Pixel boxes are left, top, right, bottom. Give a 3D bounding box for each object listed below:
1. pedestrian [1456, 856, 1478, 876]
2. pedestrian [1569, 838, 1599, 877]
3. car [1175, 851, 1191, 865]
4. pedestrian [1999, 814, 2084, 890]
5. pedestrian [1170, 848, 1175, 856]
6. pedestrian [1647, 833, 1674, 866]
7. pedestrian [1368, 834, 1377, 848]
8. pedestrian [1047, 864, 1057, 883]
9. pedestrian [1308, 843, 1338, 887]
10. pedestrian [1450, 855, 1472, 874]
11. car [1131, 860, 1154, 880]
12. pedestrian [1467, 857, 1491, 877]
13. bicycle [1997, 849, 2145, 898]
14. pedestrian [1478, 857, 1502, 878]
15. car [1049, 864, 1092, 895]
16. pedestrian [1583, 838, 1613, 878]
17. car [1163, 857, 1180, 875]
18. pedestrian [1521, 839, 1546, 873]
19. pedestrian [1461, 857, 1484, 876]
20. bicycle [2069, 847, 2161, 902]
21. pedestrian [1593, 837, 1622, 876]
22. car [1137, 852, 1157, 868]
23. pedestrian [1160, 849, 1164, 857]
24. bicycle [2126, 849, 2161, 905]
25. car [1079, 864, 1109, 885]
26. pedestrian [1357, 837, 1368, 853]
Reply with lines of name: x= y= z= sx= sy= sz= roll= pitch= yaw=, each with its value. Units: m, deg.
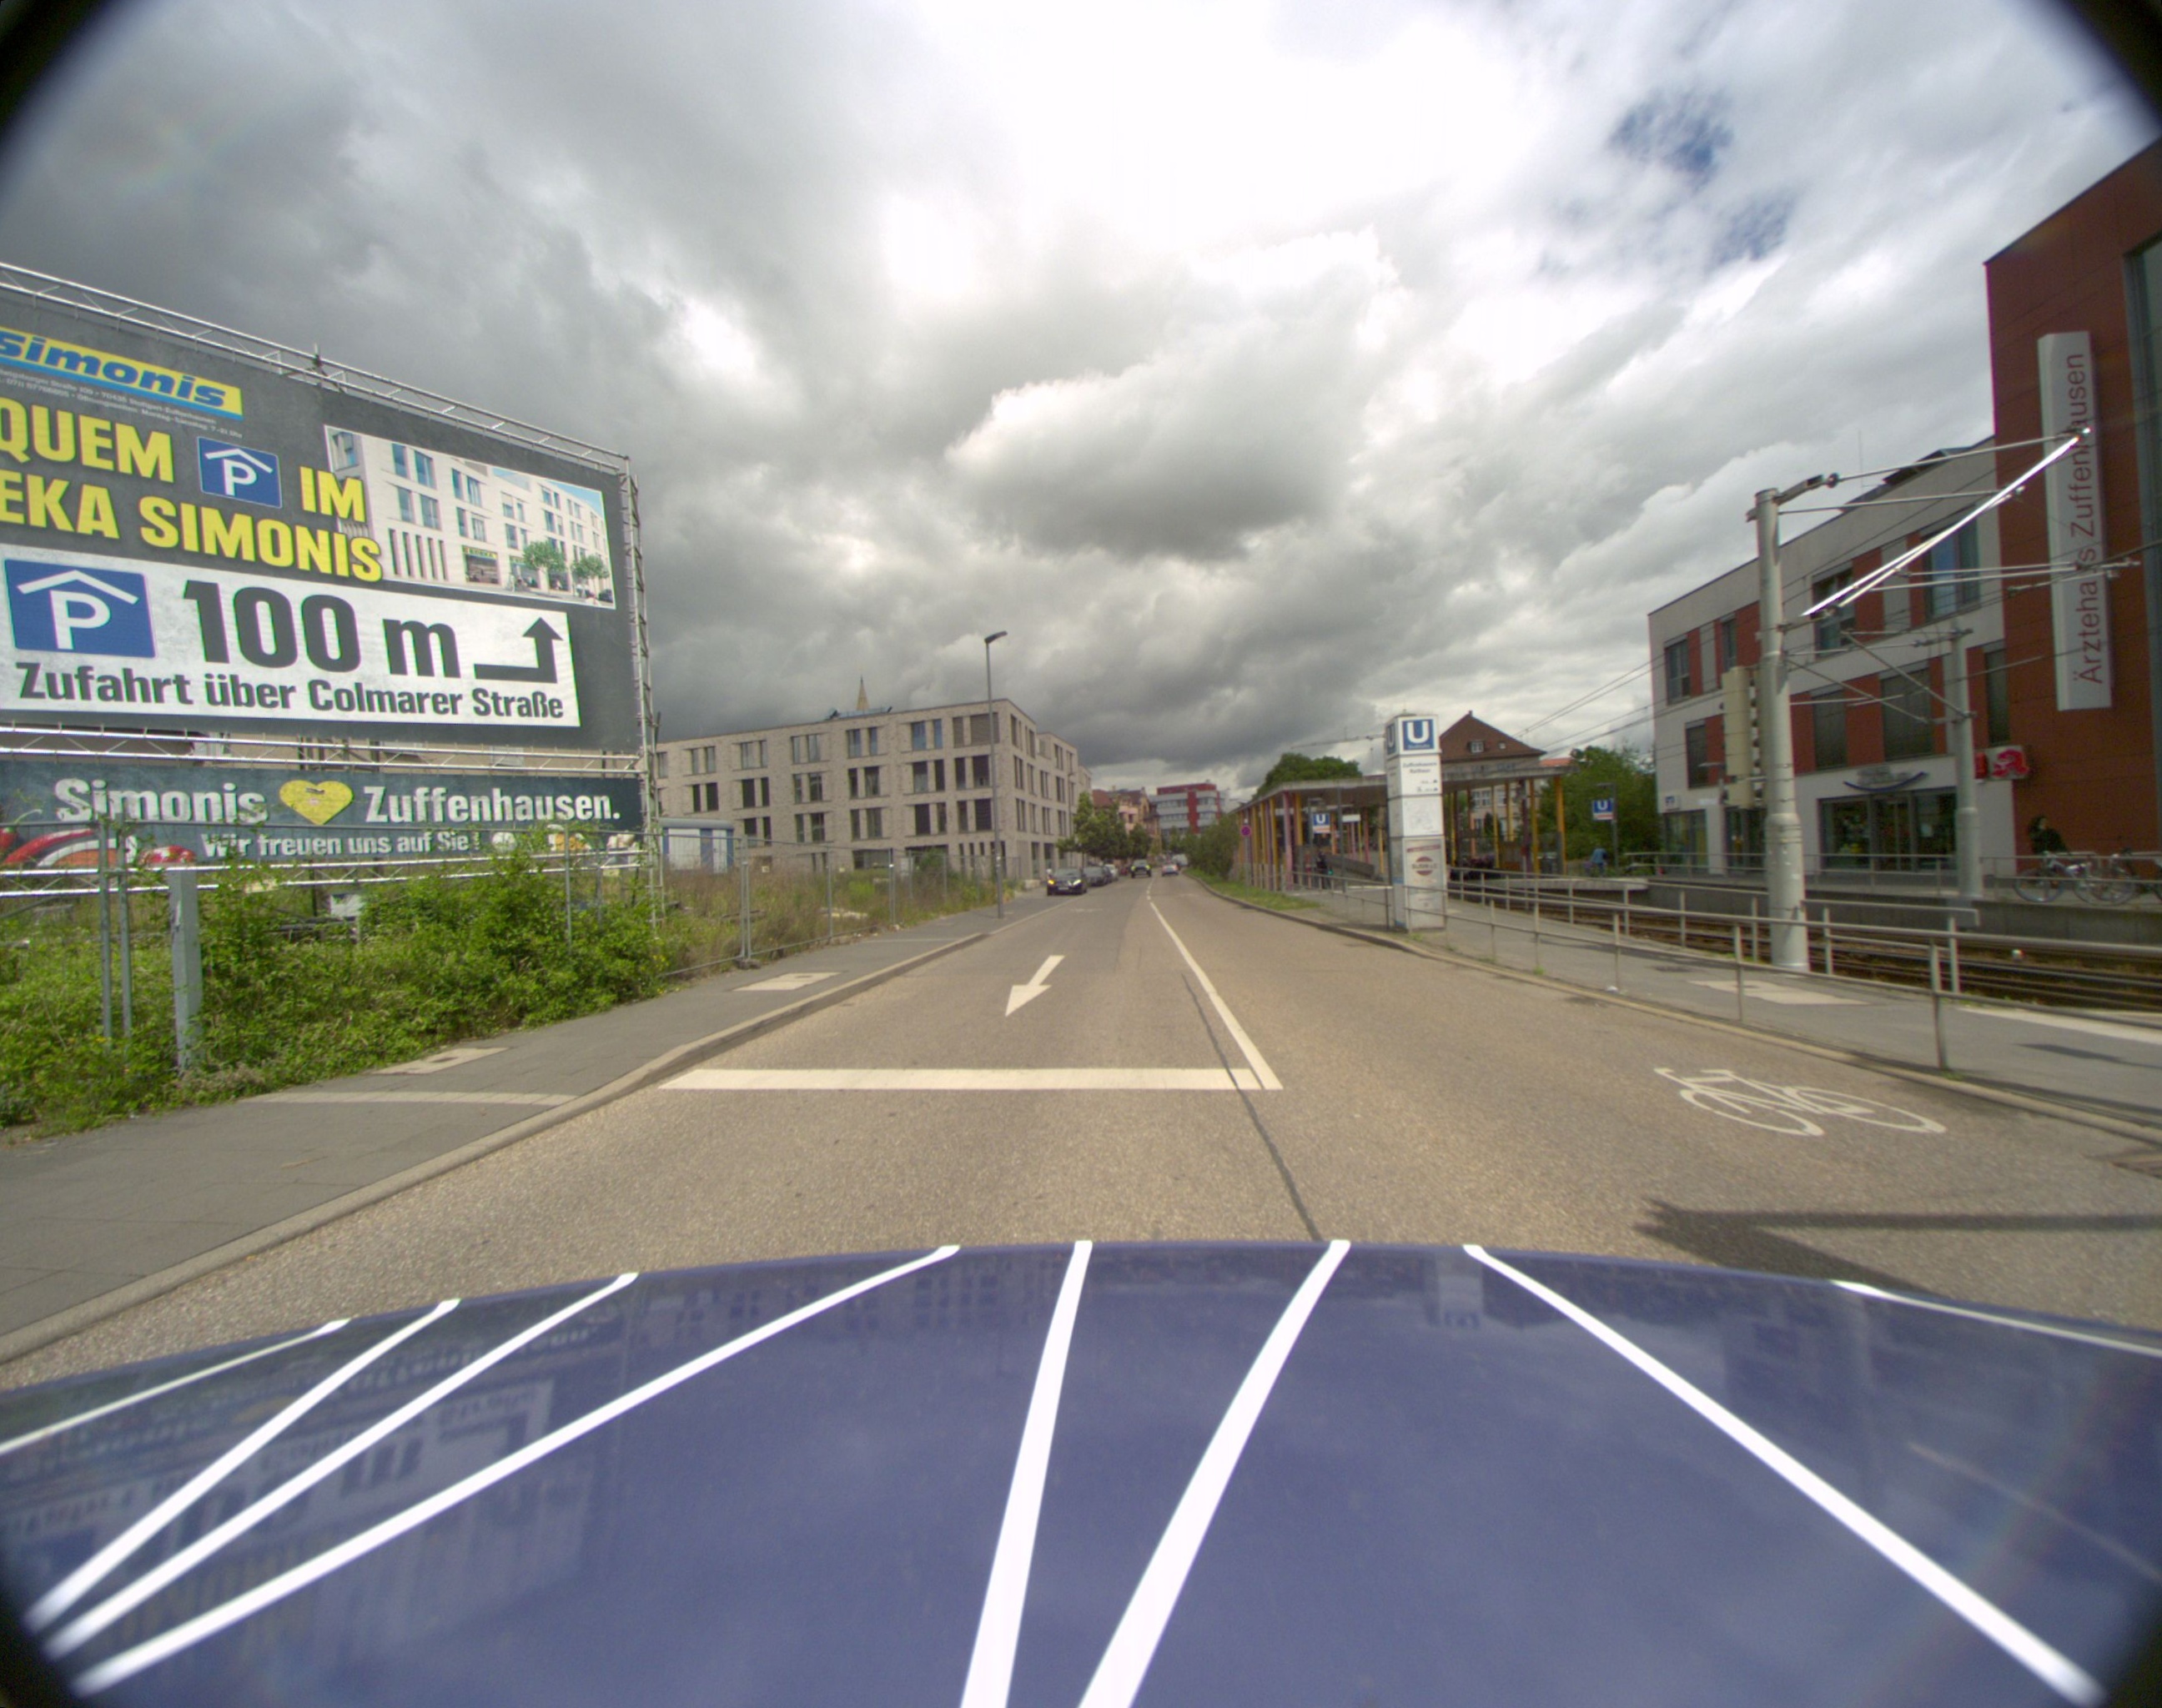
pedestrian: x=23.392 y=0.724 z=46.079 sx=0.943 sy=1.128 sz=0.886 roll=-2 pitch=0 yaw=7
pedestrian: x=25.472 y=0.178 z=38.495 sx=0.863 sy=1.957 sz=1.107 roll=-1 pitch=1 yaw=10
car: x=15.208 y=0.563 z=113.045 sx=1.997 sy=2.064 sz=4.003 roll=-1 pitch=1 yaw=12
pedestrian: x=22.109 y=-0.042 z=17.513 sx=0.788 sy=1.688 sz=0.935 roll=-1 pitch=1 yaw=-2
pedestrian: x=17.994 y=-0.439 z=149.229 sx=0.673 sy=1.503 sz=0.783 roll=-2 pitch=0 yaw=16
pedestrian: x=35.719 y=-0.281 z=46.866 sx=1.103 sy=1.957 sz=0.866 roll=-1 pitch=1 yaw=19
pedestrian: x=41.374 y=-1.870 z=107.977 sx=1.124 sy=2.002 sz=1.662 roll=-2 pitch=0 yaw=21
pedestrian: x=-2.234 y=1.500 z=58.727 sx=0.673 sy=1.503 sz=0.783 roll=-2 pitch=0 yaw=5
pedestrian: x=10.878 y=0.485 z=34.134 sx=1.104 sy=1.903 sz=0.865 roll=-1 pitch=1 yaw=7
pedestrian: x=23.557 y=0.657 z=47.128 sx=0.943 sy=1.128 sz=0.886 roll=-2 pitch=0 yaw=7
car: x=6.436 y=1.619 z=78.998 sx=2.003 sy=1.876 sz=5.153 roll=-1 pitch=1 yaw=9
pedestrian: x=23.119 y=0.754 z=44.146 sx=0.943 sy=1.128 sz=0.886 roll=-2 pitch=0 yaw=7
bicycle: x=19.115 y=0.372 z=14.705 sx=1.860 sy=0.876 sz=0.455 roll=-2 pitch=1 yaw=14
pedestrian: x=23.234 y=0.763 z=43.177 sx=0.943 sy=1.128 sz=0.886 roll=-2 pitch=0 yaw=7
car: x=-0.499 y=1.284 z=39.562 sx=1.677 sy=1.415 sz=3.796 roll=-1 pitch=1 yaw=8
pedestrian: x=26.112 y=0.184 z=38.381 sx=0.863 sy=1.957 sz=1.107 roll=-1 pitch=1 yaw=10
car: x=9.076 y=1.167 z=76.429 sx=1.587 sy=1.527 sz=3.948 roll=-5 pitch=0 yaw=6
pedestrian: x=26.970 y=0.117 z=45.294 sx=0.863 sy=1.957 sz=1.106 roll=-1 pitch=1 yaw=7
pedestrian: x=23.214 y=0.741 z=45.100 sx=0.943 sy=1.128 sz=0.886 roll=-2 pitch=0 yaw=7
bicycle: x=19.080 y=0.353 z=13.576 sx=1.860 sy=0.927 sz=0.455 roll=-2 pitch=1 yaw=14
pedestrian: x=27.405 y=0.128 z=39.569 sx=0.863 sy=1.957 sz=1.107 roll=-1 pitch=1 yaw=10
car: x=8.486 y=0.749 z=96.824 sx=1.997 sy=2.001 sz=4.004 roll=-2 pitch=0 yaw=12
pedestrian: x=15.296 y=-0.106 z=143.589 sx=0.673 sy=1.503 sz=0.783 roll=-2 pitch=0 yaw=7
bicycle: x=18.985 y=0.365 z=12.752 sx=1.860 sy=0.917 sz=0.455 roll=-2 pitch=1 yaw=13
car: x=0.953 y=1.418 z=53.350 sx=1.677 sy=1.367 sz=3.797 roll=-2 pitch=0 yaw=8
pedestrian: x=36.312 y=-1.171 z=97.911 sx=1.127 sy=2.002 sz=0.816 roll=-2 pitch=0 yaw=10
